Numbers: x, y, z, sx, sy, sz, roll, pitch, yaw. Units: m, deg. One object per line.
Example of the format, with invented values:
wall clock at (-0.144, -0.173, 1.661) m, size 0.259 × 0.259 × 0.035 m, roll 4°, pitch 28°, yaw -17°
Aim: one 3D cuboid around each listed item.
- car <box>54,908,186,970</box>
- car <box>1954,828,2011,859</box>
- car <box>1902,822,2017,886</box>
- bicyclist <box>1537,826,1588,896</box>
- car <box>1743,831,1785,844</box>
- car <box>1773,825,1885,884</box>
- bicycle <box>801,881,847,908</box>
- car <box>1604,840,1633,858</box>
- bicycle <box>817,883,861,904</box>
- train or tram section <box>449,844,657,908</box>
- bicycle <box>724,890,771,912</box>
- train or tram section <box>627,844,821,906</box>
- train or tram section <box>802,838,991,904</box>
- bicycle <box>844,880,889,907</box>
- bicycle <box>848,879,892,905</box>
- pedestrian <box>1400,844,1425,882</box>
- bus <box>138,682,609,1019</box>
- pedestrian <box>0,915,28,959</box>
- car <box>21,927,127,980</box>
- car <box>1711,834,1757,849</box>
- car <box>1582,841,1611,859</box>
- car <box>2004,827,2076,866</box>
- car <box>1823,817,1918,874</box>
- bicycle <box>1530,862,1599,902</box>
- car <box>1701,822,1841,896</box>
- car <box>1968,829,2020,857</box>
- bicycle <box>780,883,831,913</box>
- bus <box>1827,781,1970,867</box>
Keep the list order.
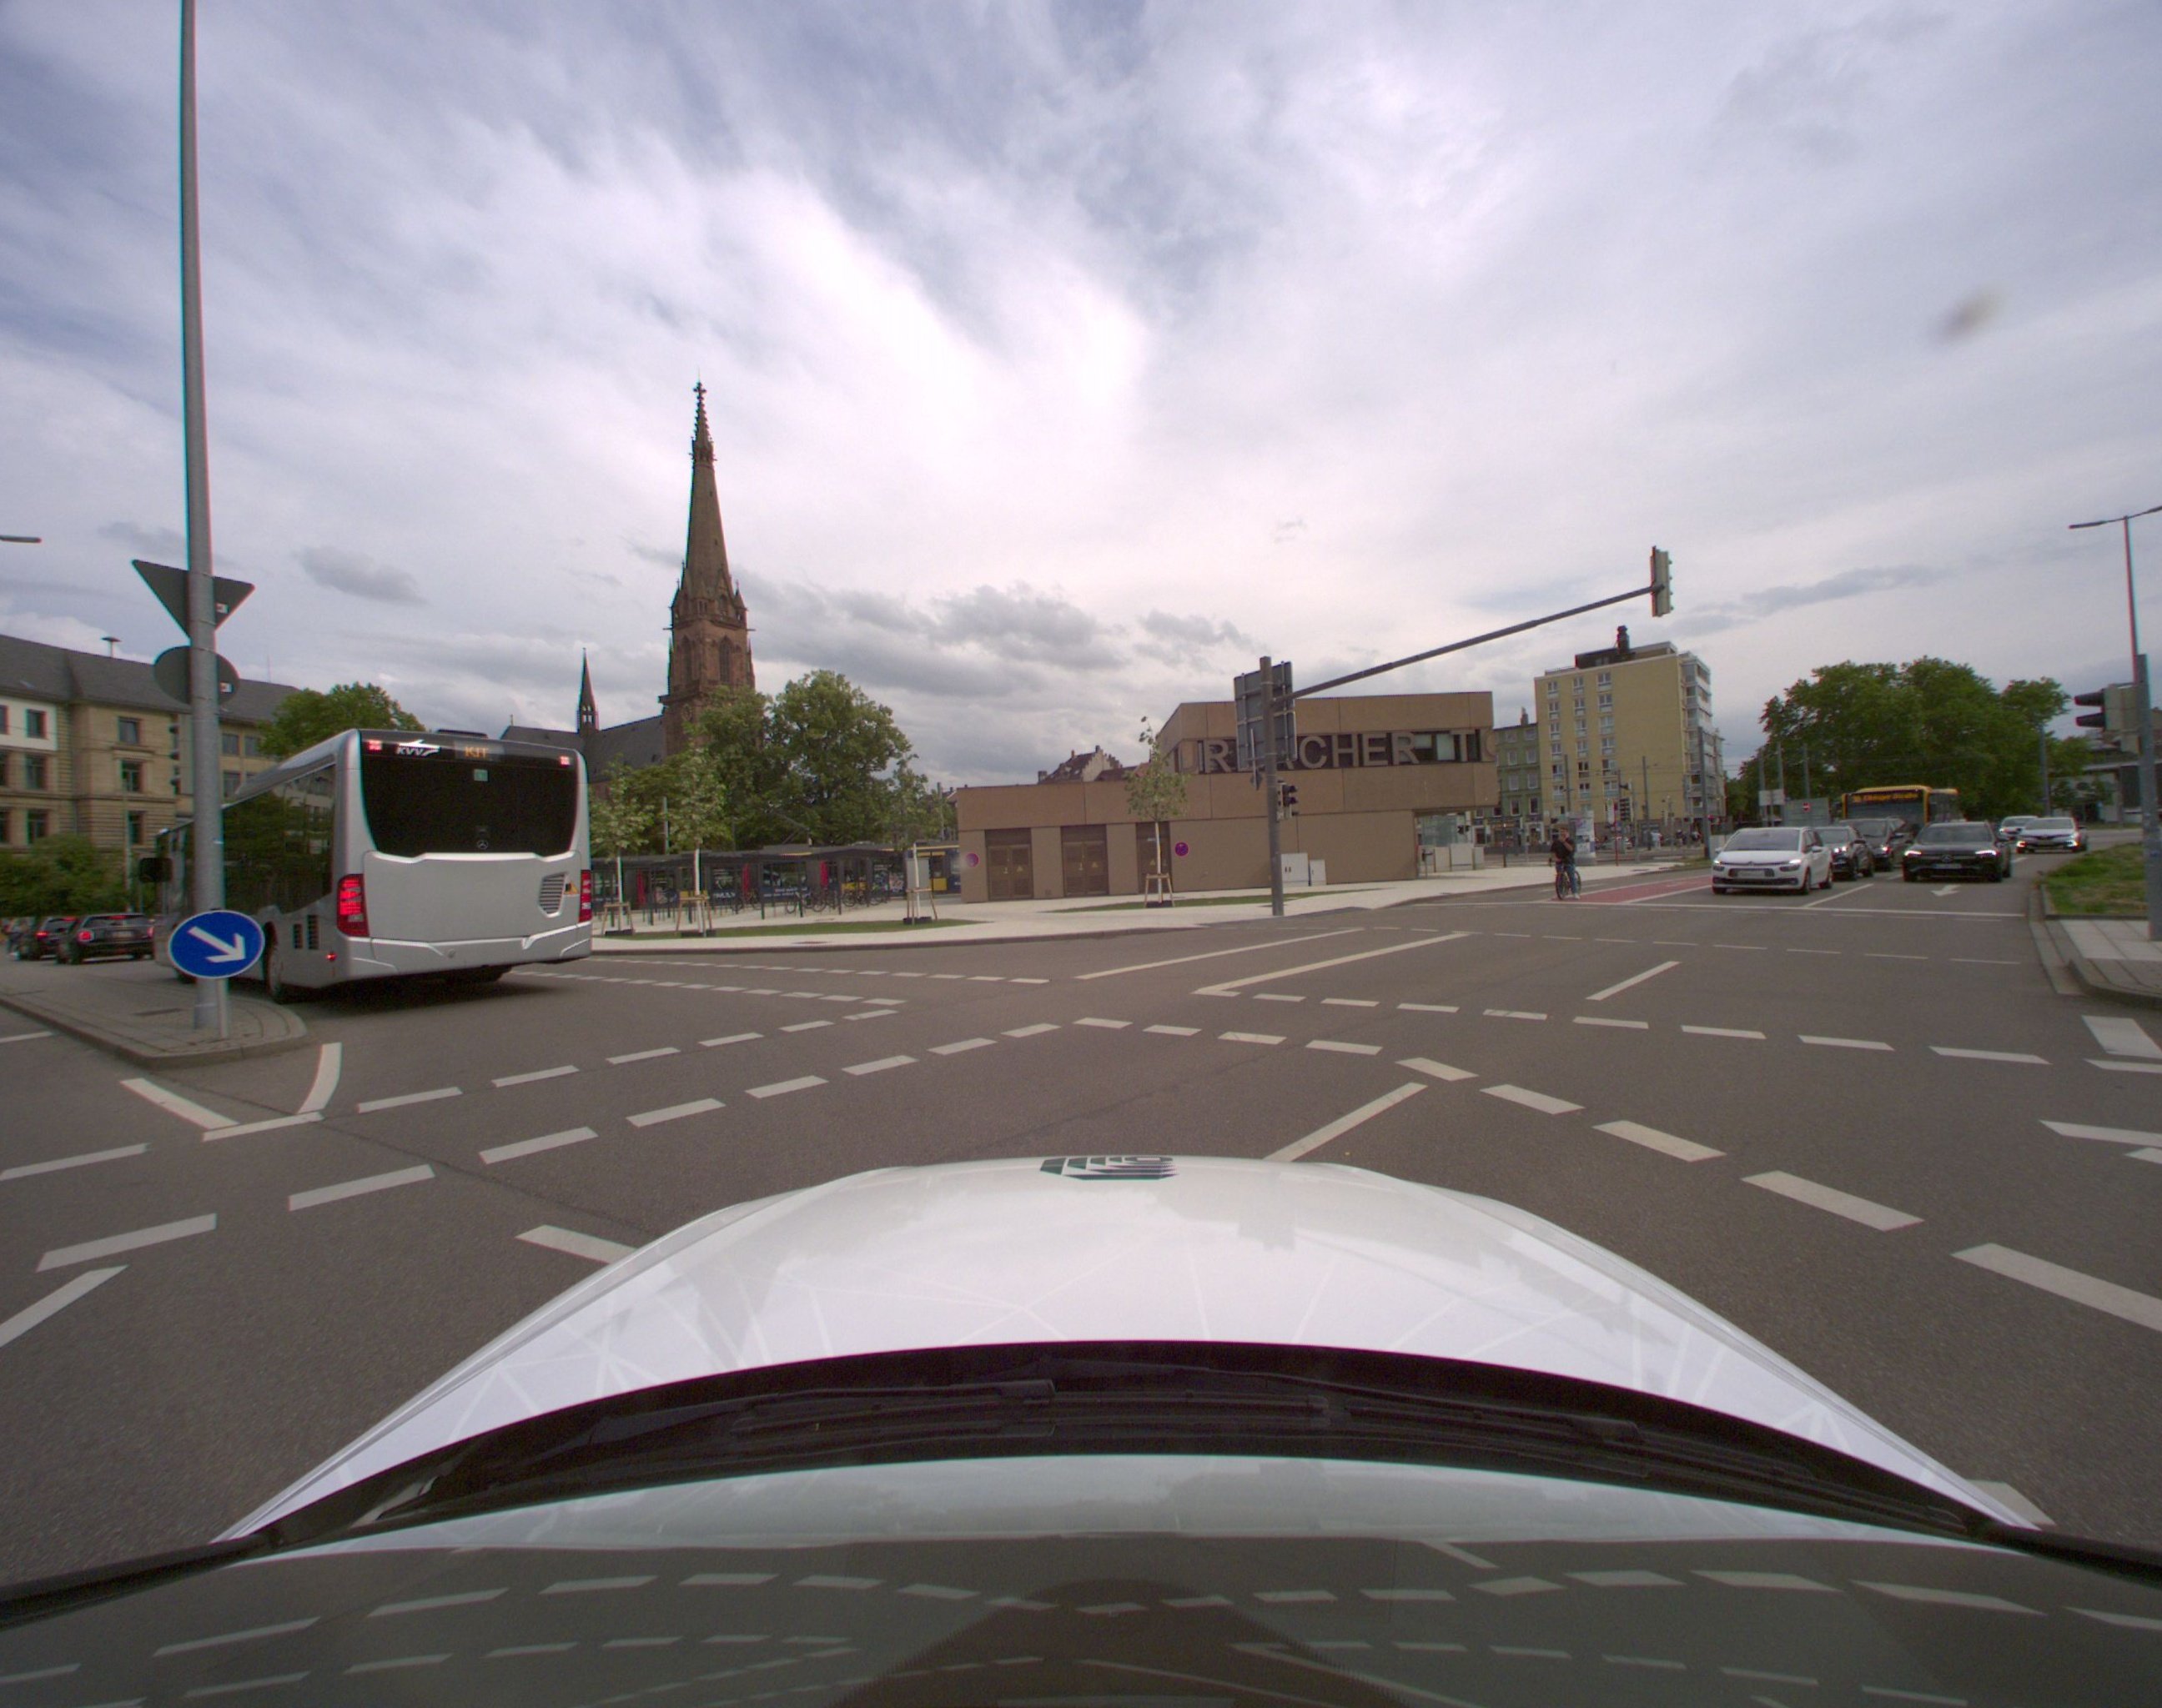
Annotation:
car at (-28.913, 2.481, 24.480) m, size 3.948 × 1.486 × 2.013 m, roll -1°, pitch 0°, yaw 32°
car at (50.957, -0.576, 46.030) m, size 4.535 × 1.651 × 1.977 m, roll -1°, pitch 0°, yaw -40°
car at (24.964, -0.035, 23.098) m, size 4.535 × 1.651 × 1.977 m, roll -1°, pitch 0°, yaw -40°
bicyclist at (11.852, 0.154, 20.040) m, size 0.886 × 1.669 × 0.859 m, roll -1°, pitch 0°, yaw -45°
car at (87.553, -2.104, 104.439) m, size 1.614 × 1.684 × 3.952 m, roll -1°, pitch 0°, yaw -41°
car at (23.098, -0.018, 25.107) m, size 4.312 × 1.651 × 1.977 m, roll -1°, pitch 0°, yaw -40°
bicycle at (-11.803, 1.852, 37.476) m, size 1.960 × 1.156 × 0.582 m, roll -1°, pitch 0°, yaw -11°
car at (60.930, -0.538, 92.345) m, size 4.023 × 2.013 × 1.975 m, roll -1°, pitch 0°, yaw -45°
bicycle at (-11.861, 1.933, 39.904) m, size 1.957 × 0.970 × 0.583 m, roll -1°, pitch 0°, yaw -5°
train or tram section at (-29.030, 1.169, 45.073) m, size 9.314 × 3.277 × 3.060 m, roll -1°, pitch 0°, yaw -2°
bicycle at (-15.709, 2.223, 38.409) m, size 1.957 × 0.955 × 0.583 m, roll -1°, pitch 0°, yaw -5°
train or tram section at (-19.713, 1.116, 45.458) m, size 9.374 × 3.213 × 3.060 m, roll -1°, pitch 0°, yaw -2°
train or tram section at (-10.172, 0.922, 45.820) m, size 9.871 × 3.450 × 3.060 m, roll -1°, pitch 0°, yaw -2°
bicycle at (-9.849, 1.825, 37.468) m, size 1.960 × 1.156 × 0.582 m, roll -1°, pitch 0°, yaw -11°
bicycle at (-10.080, 1.821, 38.902) m, size 1.960 × 1.156 × 0.582 m, roll -1°, pitch 0°, yaw -11°
pedestrian at (16.015, 0.443, 39.355) m, size 0.805 × 1.733 × 0.781 m, roll -3°, pitch -2°, yaw 5°
bus at (-12.618, 0.363, 13.514) m, size 13.998 × 3.438 × 2.731 m, roll -4°, pitch -2°, yaw 36°
pedestrian at (-43.508, 3.373, 33.127) m, size 0.829 × 1.711 × 0.805 m, roll -1°, pitch 0°, yaw 38°
car at (-35.223, 3.405, 28.465) m, size 4.219 × 1.361 × 2.013 m, roll -1°, pitch 0°, yaw 34°
car at (75.615, -1.432, 94.374) m, size 1.614 × 1.684 × 3.952 m, roll -1°, pitch 0°, yaw -41°
car at (59.308, -0.523, 93.670) m, size 4.023 × 2.013 × 1.975 m, roll -1°, pitch 0°, yaw -45°
car at (42.463, -0.343, 36.071) m, size 4.535 × 1.651 × 1.977 m, roll -1°, pitch 0°, yaw -40°
car at (28.352, -0.304, 29.206) m, size 4.312 × 1.898 × 1.977 m, roll -1°, pitch 0°, yaw -40°
bicycle at (11.986, 0.657, 20.152) m, size 2.533 × 0.876 × 0.854 m, roll -1°, pitch 0°, yaw -45°
car at (17.412, 0.086, 20.483) m, size 4.312 × 1.651 × 1.977 m, roll -1°, pitch 0°, yaw -40°
car at (57.077, -0.689, 50.887) m, size 4.535 × 1.651 × 1.977 m, roll -1°, pitch 0°, yaw -40°
bicycle at (-11.733, 1.866, 34.691) m, size 1.960 × 1.156 × 0.582 m, roll -1°, pitch 0°, yaw -11°
bus at (36.317, -1.208, 35.948) m, size 12.474 × 3.255 × 3.122 m, roll -1°, pitch 0°, yaw -39°
